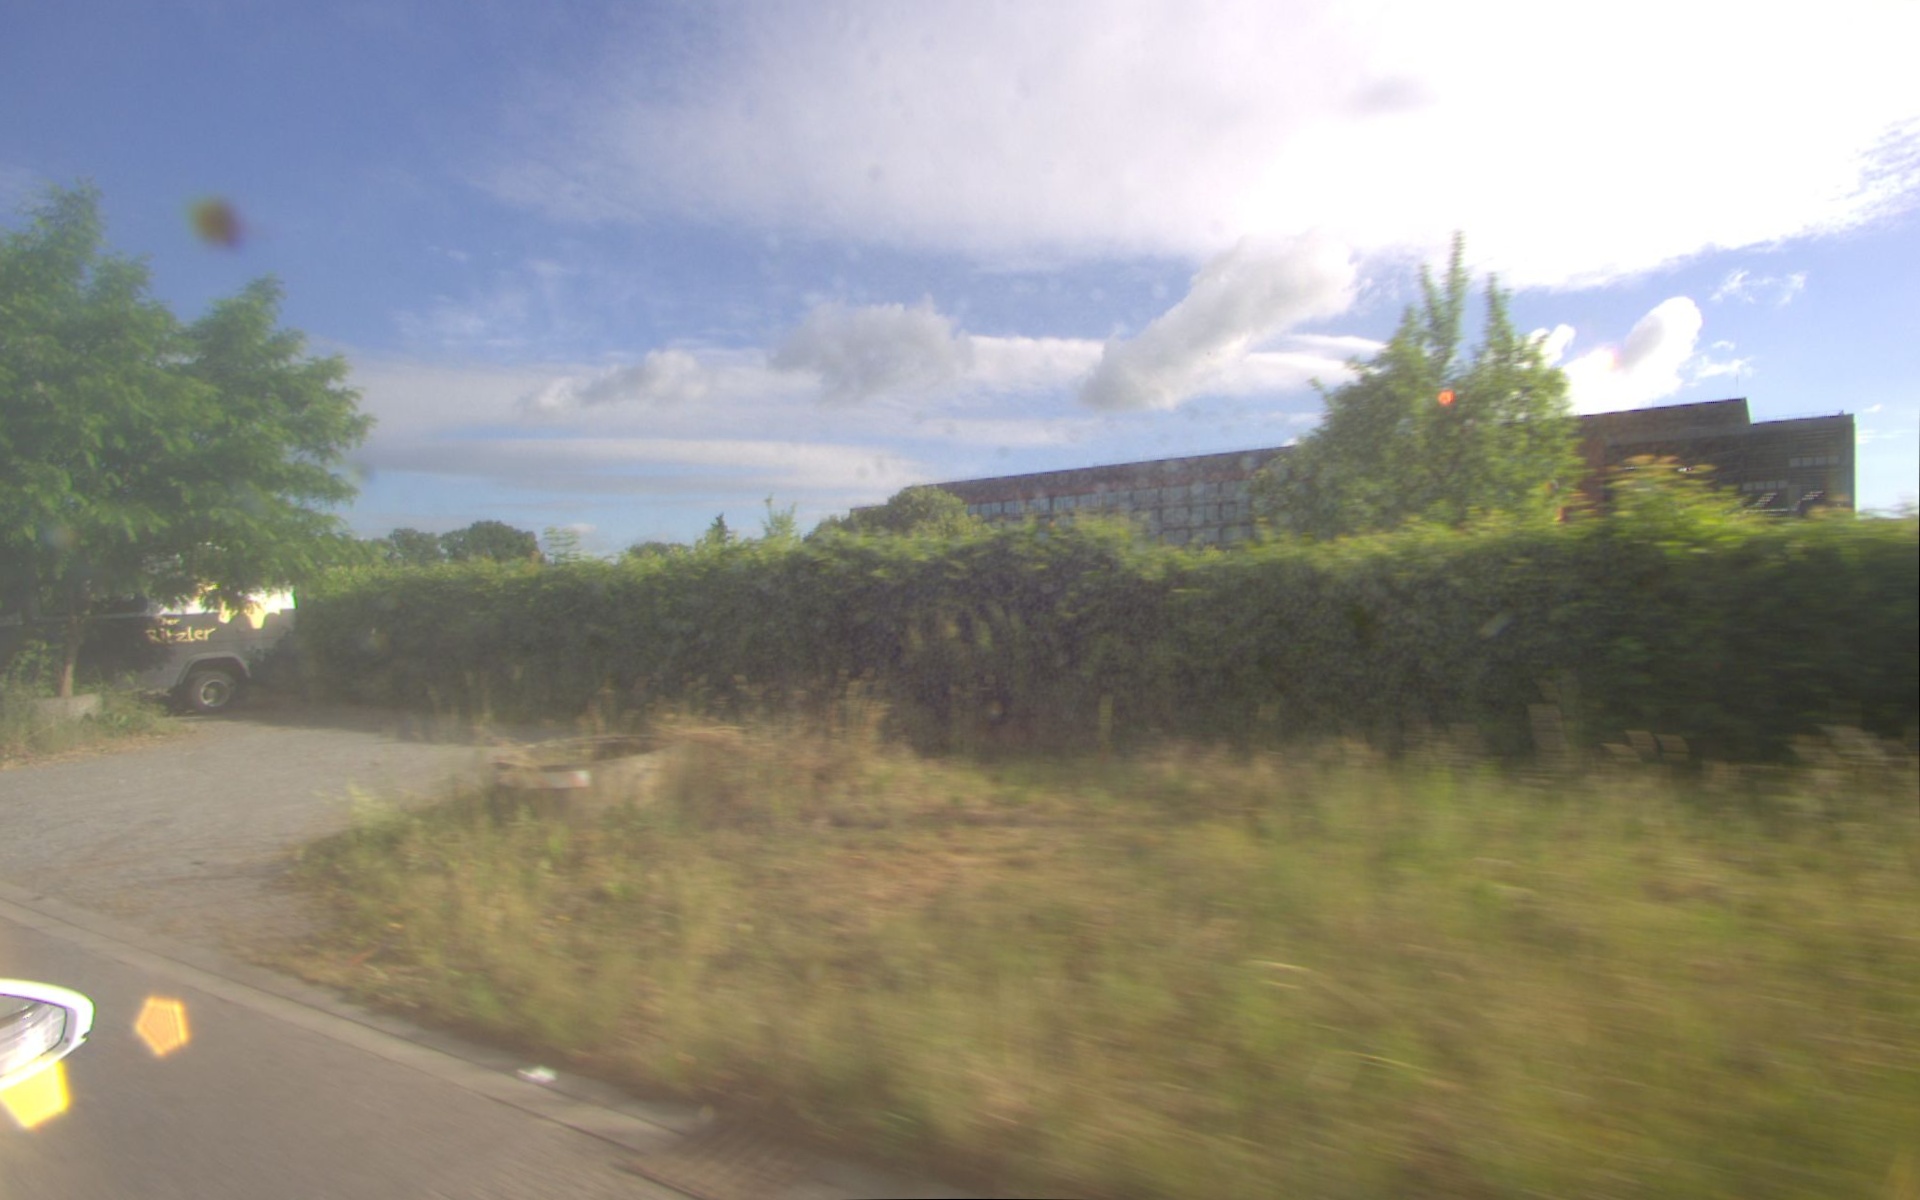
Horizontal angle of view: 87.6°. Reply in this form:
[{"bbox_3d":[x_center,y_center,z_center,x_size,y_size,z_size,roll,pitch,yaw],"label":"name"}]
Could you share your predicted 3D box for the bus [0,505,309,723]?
[{"bbox_3d":[-12.657,0.227,14.290,2.036,2.782,5.364,-1,-2,27],"label":"bus"}]
